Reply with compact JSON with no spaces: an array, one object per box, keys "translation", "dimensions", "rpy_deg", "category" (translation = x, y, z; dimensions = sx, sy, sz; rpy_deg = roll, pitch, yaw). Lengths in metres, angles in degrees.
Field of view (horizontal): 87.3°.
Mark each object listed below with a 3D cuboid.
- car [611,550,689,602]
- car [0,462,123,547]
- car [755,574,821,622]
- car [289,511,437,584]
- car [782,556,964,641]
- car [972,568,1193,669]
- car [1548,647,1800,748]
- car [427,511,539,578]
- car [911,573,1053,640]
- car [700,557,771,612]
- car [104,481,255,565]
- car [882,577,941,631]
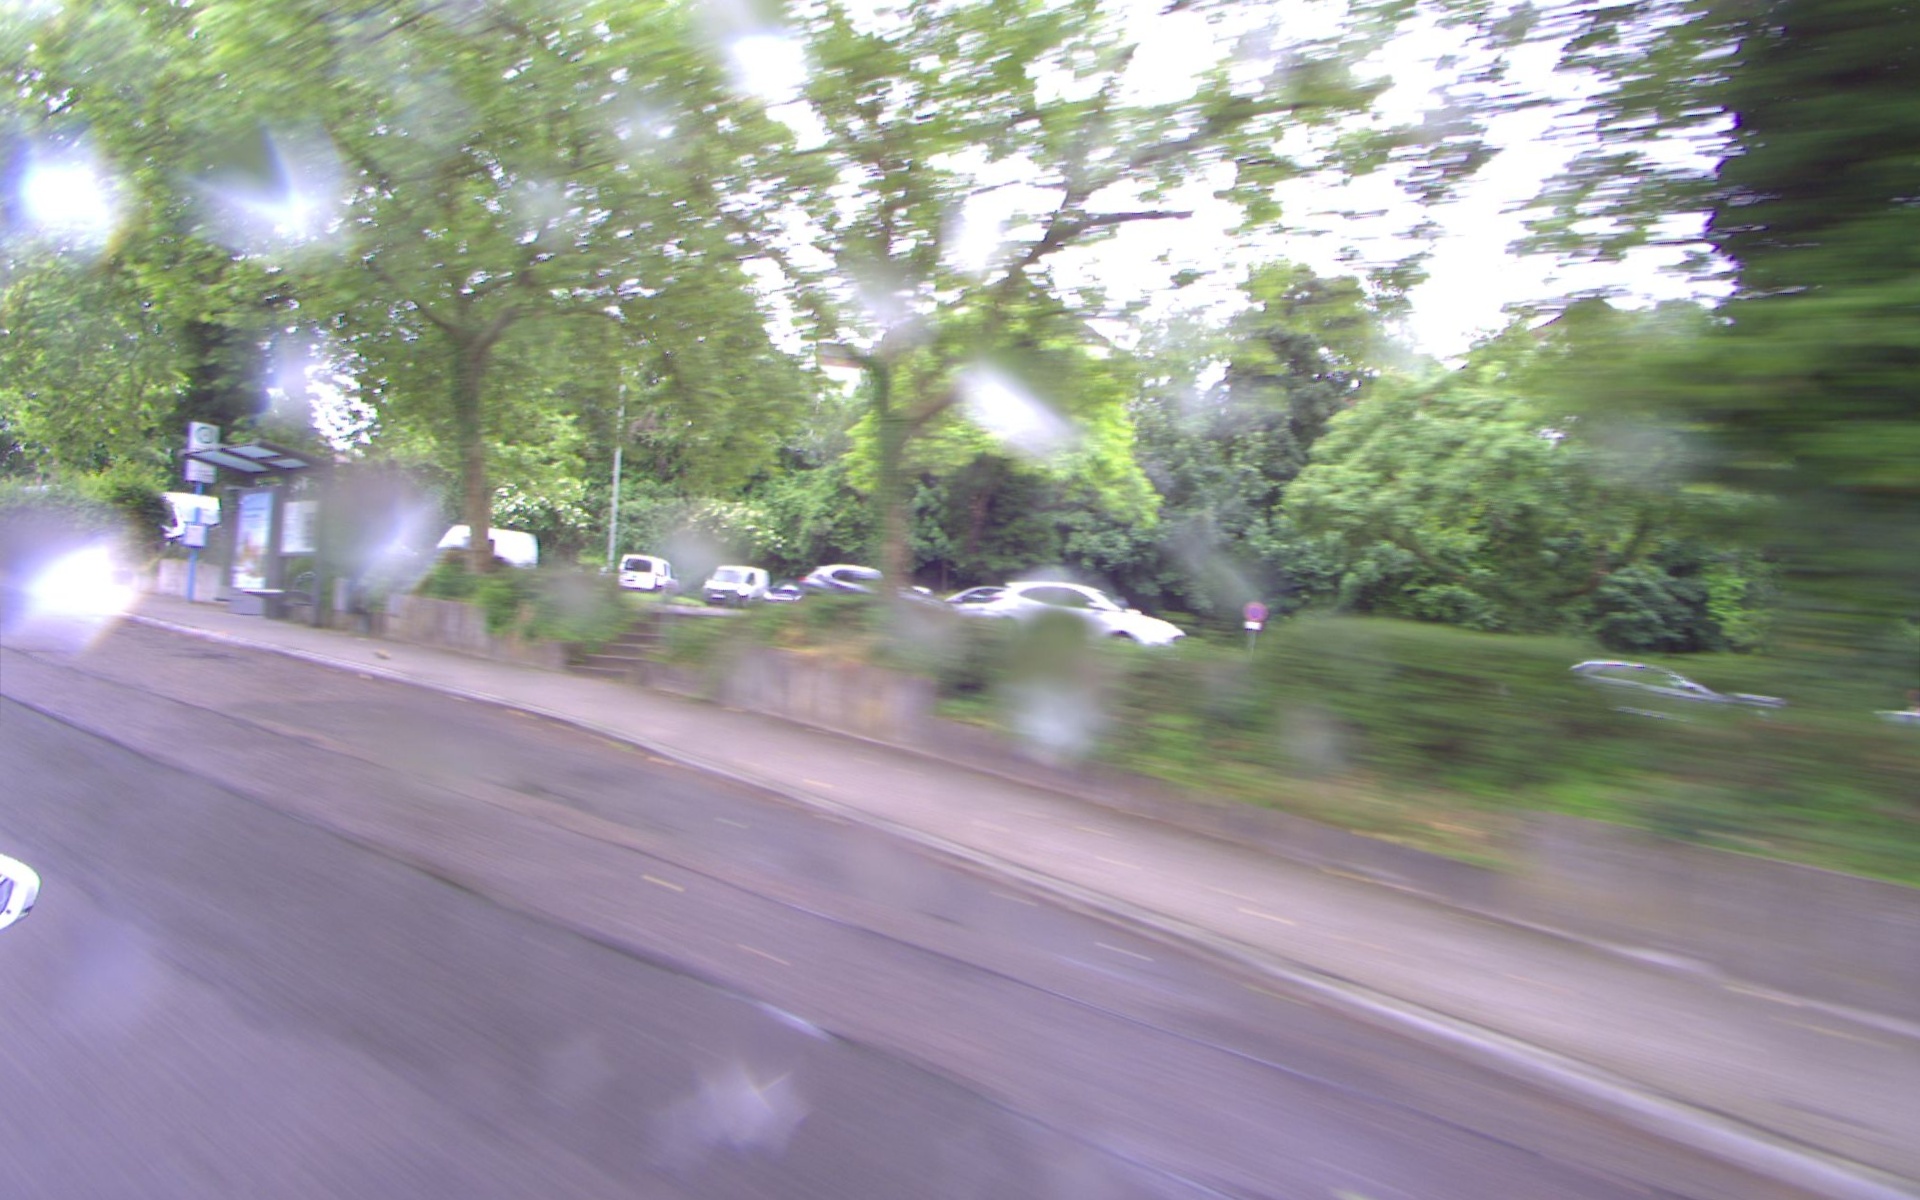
[{"translation":[-13.270,-0.984,43.365],"dimensions":[1.770,1.683,4.185],"rpy_deg":[9,-3,2],"category":"car"},{"translation":[-30.552,-3.233,33.930],"dimensions":[4.062,2.252,1.999],"rpy_deg":[7,-1,28],"category":"car"},{"translation":[-7.103,-0.034,42.053],"dimensions":[1.770,1.493,4.185],"rpy_deg":[9,-3,2],"category":"car"},{"translation":[-17.927,-1.576,30.199],"dimensions":[4.099,1.601,1.826],"rpy_deg":[7,-2,28],"category":"car"},{"translation":[-2.226,-0.048,25.556],"dimensions":[4.101,1.468,1.900],"rpy_deg":[7,-3,30],"category":"car"},{"translation":[2.577,0.381,21.328],"dimensions":[4.099,1.468,1.901],"rpy_deg":[7,-3,28],"category":"car"},{"translation":[15.306,2.109,21.876],"dimensions":[4.099,1.468,1.901],"rpy_deg":[7,-3,28],"category":"car"},{"translation":[-20.339,-2.294,43.175],"dimensions":[1.962,2.035,5.211],"rpy_deg":[9,-3,2],"category":"car"},{"translation":[0.656,0.184,29.766],"dimensions":[3.713,1.349,1.744],"rpy_deg":[8,-3,24],"category":"car"},{"translation":[-9.496,-0.605,42.853],"dimensions":[1.770,1.788,4.185],"rpy_deg":[9,-3,2],"category":"car"},{"translation":[-27.942,-2.763,36.017],"dimensions":[4.928,2.310,2.051],"rpy_deg":[7,-2,25],"category":"car"},{"translation":[-1.972,0.226,42.210],"dimensions":[1.770,1.788,4.186],"rpy_deg":[8,-3,5],"category":"car"}]
